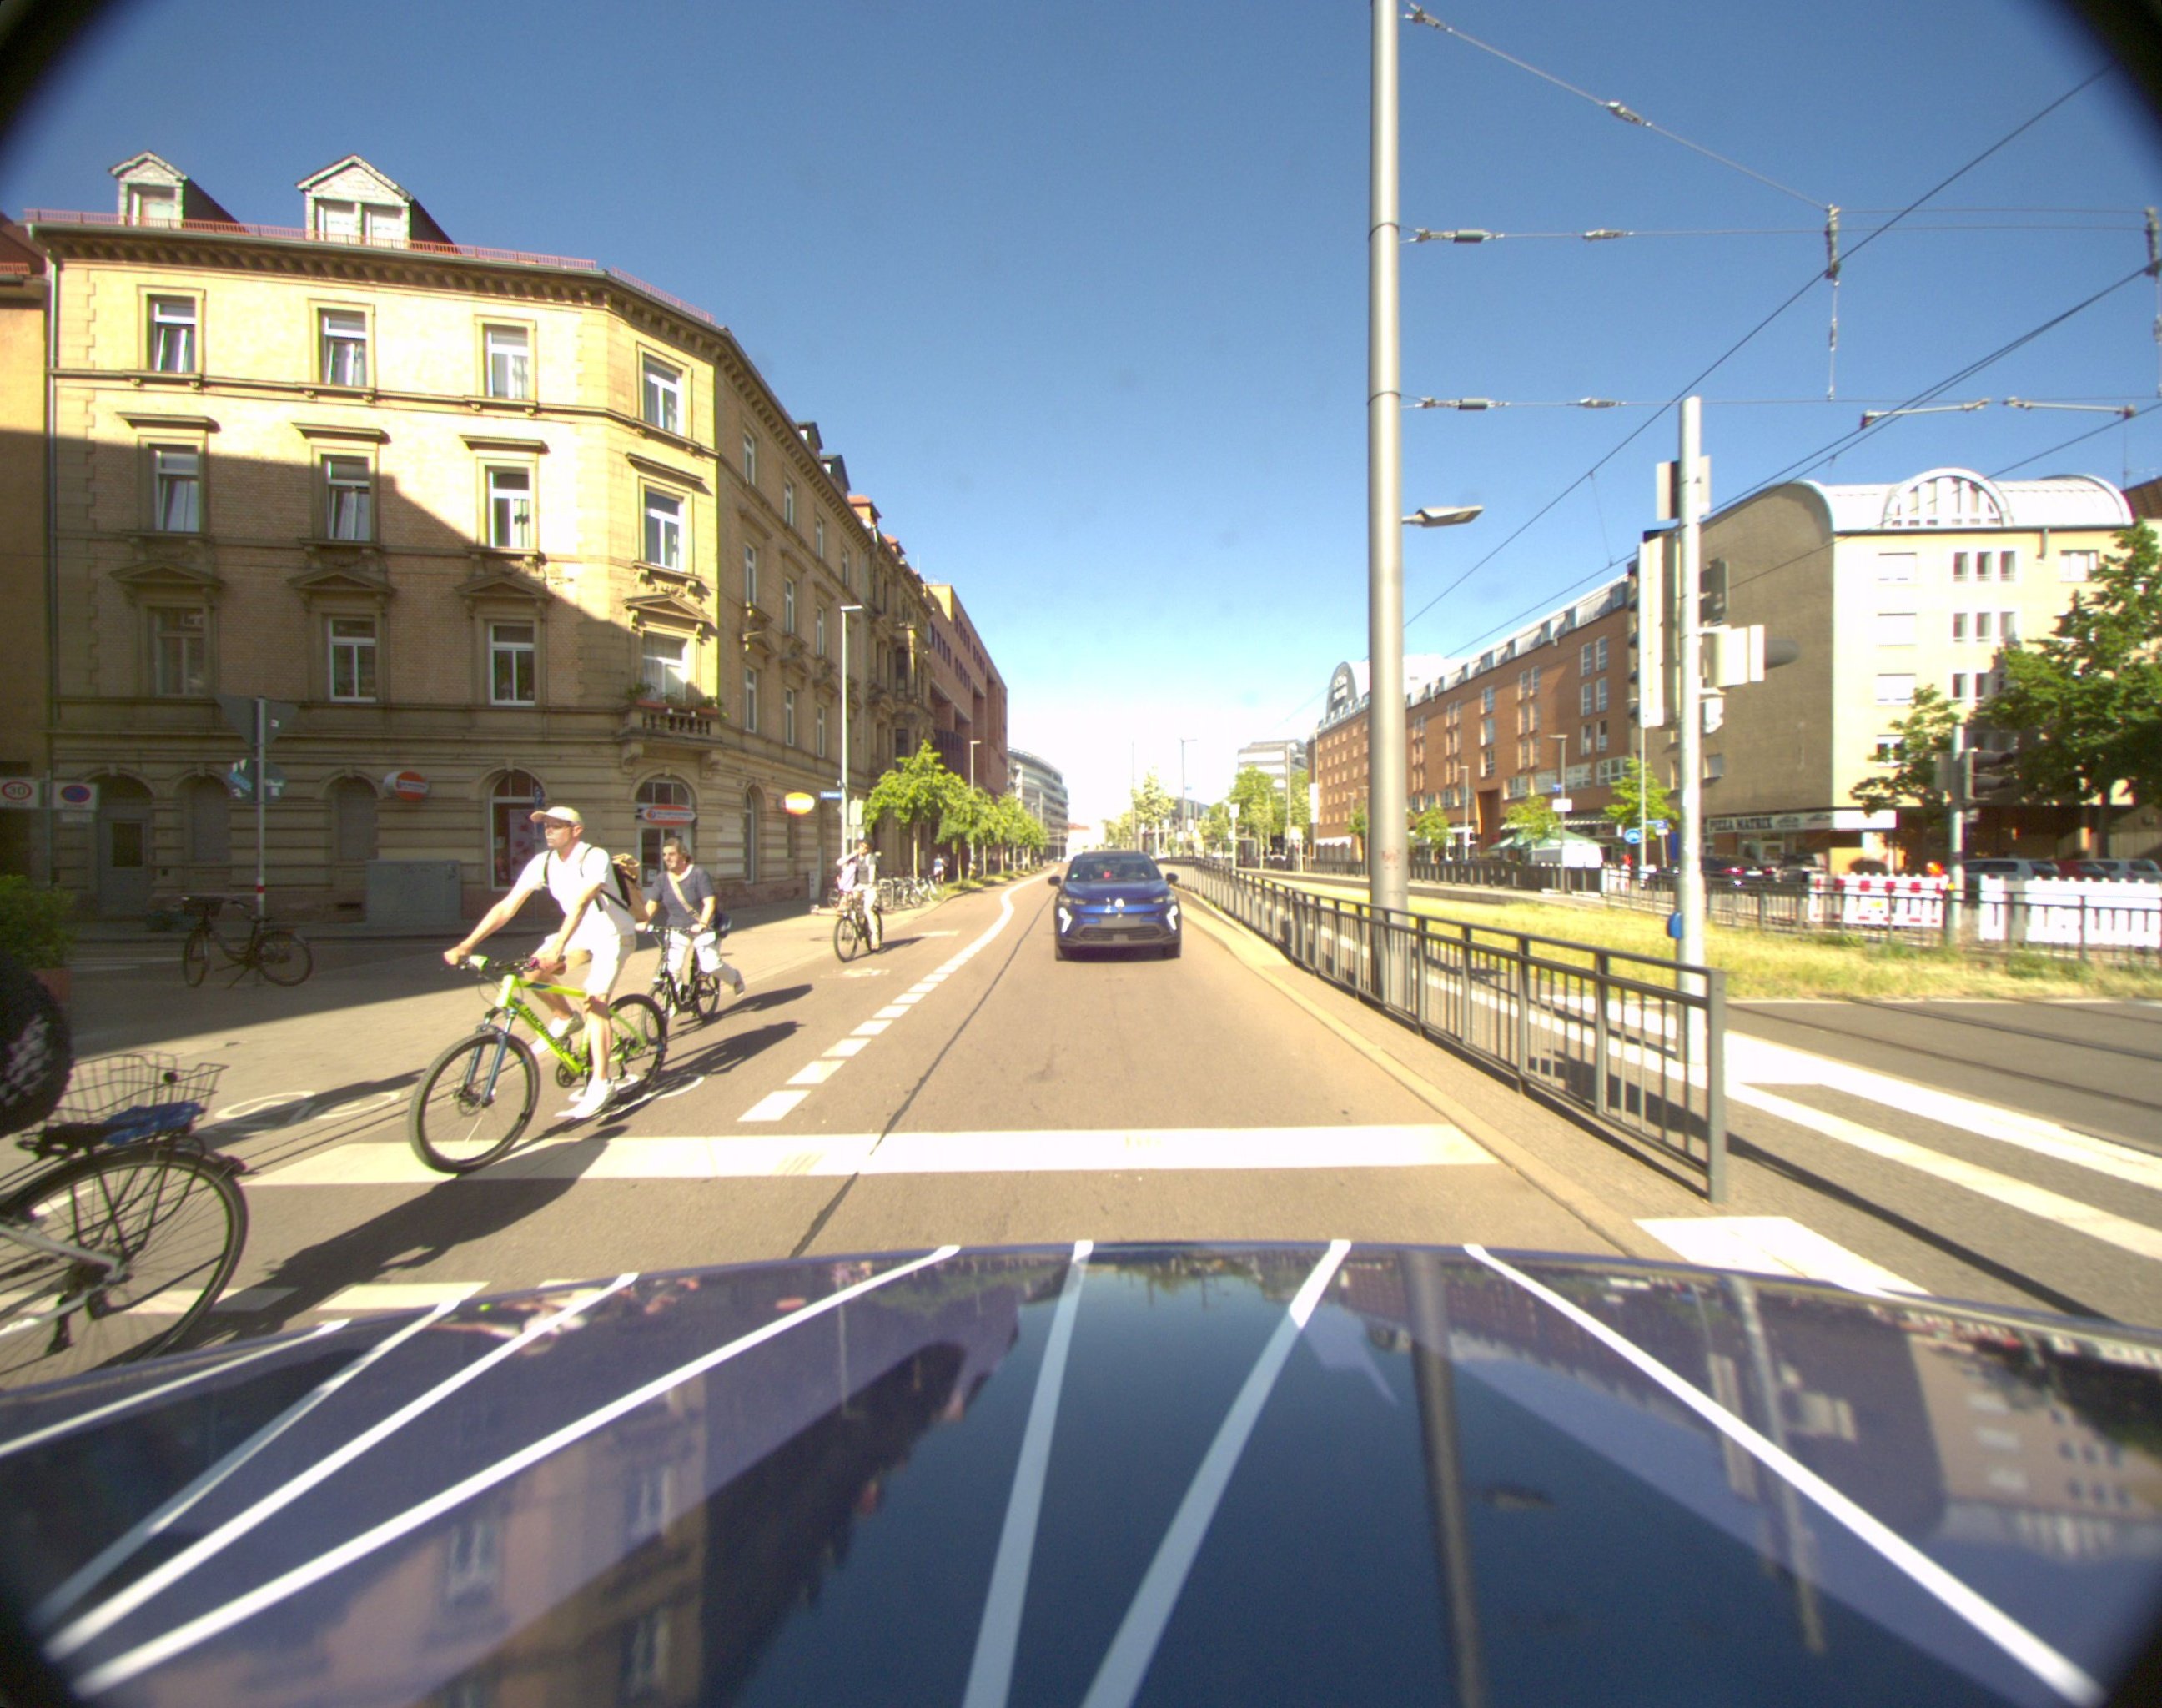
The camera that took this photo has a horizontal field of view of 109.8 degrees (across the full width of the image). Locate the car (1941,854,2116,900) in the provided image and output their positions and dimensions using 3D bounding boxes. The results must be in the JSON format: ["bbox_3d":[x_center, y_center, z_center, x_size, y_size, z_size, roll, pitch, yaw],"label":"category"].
[{"bbox_3d":[35.730,0.813,28.819,1.473,1.543,3.964,-2,1,-8],"label":"car"}]

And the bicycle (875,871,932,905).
[{"bbox_3d":[-6.179,1.170,26.490,1.678,1.056,1.134,3,1,-1],"label":"bicycle"}]

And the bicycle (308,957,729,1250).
[{"bbox_3d":[-2.928,1.220,4.302,0.724,1.000,1.953,-2,0,8],"label":"bicycle"}]

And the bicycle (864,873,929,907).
[{"bbox_3d":[-6.141,1.199,25.344,1.903,1.024,1.030,2,1,-2],"label":"bicycle"}]

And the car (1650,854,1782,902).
[{"bbox_3d":[24.352,0.849,29.351,1.699,1.630,3.999,-2,1,-1],"label":"car"}]

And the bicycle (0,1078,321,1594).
[{"bbox_3d":[-2.923,1.243,1.523,0.725,1.000,1.953,-2,0,4],"label":"bicycle"}]

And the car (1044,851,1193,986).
[{"bbox_3d":[0.499,0.795,11.606,1.758,1.576,4.420,-3,0,1],"label":"car"}]

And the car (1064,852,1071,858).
[{"bbox_3d":[-3.477,0.323,198.810,1.745,1.543,4.000,0,0,1],"label":"car"}]

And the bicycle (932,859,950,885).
[{"bbox_3d":[-7.258,0.916,39.450,0.579,1.246,2.097,0,1,-2],"label":"bicycle"}]

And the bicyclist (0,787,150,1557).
[{"bbox_3d":[-2.938,0.755,1.518,0.725,1.807,1.091,-2,1,3],"label":"bicyclist"}]

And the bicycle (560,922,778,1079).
[{"bbox_3d":[-3.551,1.213,6.806,0.830,1.000,1.952,-2,0,1],"label":"bicycle"}]

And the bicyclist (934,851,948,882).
[{"bbox_3d":[-7.250,0.630,39.381,0.579,1.608,0.794,0,1,-2],"label":"bicyclist"}]

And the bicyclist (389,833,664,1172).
[{"bbox_3d":[-2.990,0.730,4.207,0.700,1.647,0.978,-2,1,7],"label":"bicyclist"}]

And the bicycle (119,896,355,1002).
[{"bbox_3d":[-10.567,1.156,9.553,2.216,1.224,0.818,0,-3,7],"label":"bicycle"}]

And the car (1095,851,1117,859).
[{"bbox_3d":[5.067,0.246,154.569,4.416,1.546,1.759,0,0,1],"label":"car"}]

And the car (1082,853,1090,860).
[{"bbox_3d":[1.180,0.555,181.315,1.745,1.543,4.000,0,0,1],"label":"car"}]

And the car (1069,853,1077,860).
[{"bbox_3d":[-1.863,0.631,182.809,1.745,1.543,4.000,0,0,1],"label":"car"}]

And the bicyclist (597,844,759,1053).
[{"bbox_3d":[-3.561,0.790,6.808,0.854,1.717,0.989,-2,1,1],"label":"bicyclist"}]

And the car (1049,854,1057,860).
[{"bbox_3d":[-6.680,0.753,183.596,1.745,1.543,4.000,0,0,0],"label":"car"}]

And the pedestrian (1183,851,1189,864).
[{"bbox_3d":[14.671,0.455,106.535,0.821,1.878,0.769,0,1,5],"label":"pedestrian"}]

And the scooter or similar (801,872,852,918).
[{"bbox_3d":[-6.725,1.073,20.104,1.199,1.191,0.487,0,1,-4],"label":"scooter or similar"}]

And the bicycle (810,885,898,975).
[{"bbox_3d":[-3.497,1.135,11.878,0.725,1.187,1.952,-2,0,1],"label":"bicycle"}]

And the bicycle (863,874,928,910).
[{"bbox_3d":[-5.809,1.188,23.830,1.876,1.043,0.608,2,1,-4],"label":"bicycle"}]

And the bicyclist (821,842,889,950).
[{"bbox_3d":[-3.511,0.630,11.872,0.725,1.595,0.895,-2,1,1],"label":"bicyclist"}]

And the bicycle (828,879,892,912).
[{"bbox_3d":[-6.455,1.213,22.253,1.717,0.920,0.497,0,1,1],"label":"bicycle"}]

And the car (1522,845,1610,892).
[{"bbox_3d":[25.494,0.697,40.182,1.997,2.283,5.192,-1,1,9],"label":"car"}]

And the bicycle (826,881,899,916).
[{"bbox_3d":[-6.207,1.255,21.619,1.905,0.906,0.592,2,2,9],"label":"bicycle"}]

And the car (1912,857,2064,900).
[{"bbox_3d":[33.559,0.853,28.235,1.438,1.420,3.345,-2,1,-12],"label":"car"}]

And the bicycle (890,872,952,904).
[{"bbox_3d":[-5.849,1.236,27.892,2.062,1.036,0.847,2,1,0],"label":"bicycle"}]

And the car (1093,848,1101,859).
[{"bbox_3d":[3.594,-0.089,167.782,1.758,2.472,4.610,0,0,1],"label":"car"}]

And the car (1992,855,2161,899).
[{"bbox_3d":[38.301,0.833,29.239,1.715,1.477,3.999,-2,1,0],"label":"car"}]
